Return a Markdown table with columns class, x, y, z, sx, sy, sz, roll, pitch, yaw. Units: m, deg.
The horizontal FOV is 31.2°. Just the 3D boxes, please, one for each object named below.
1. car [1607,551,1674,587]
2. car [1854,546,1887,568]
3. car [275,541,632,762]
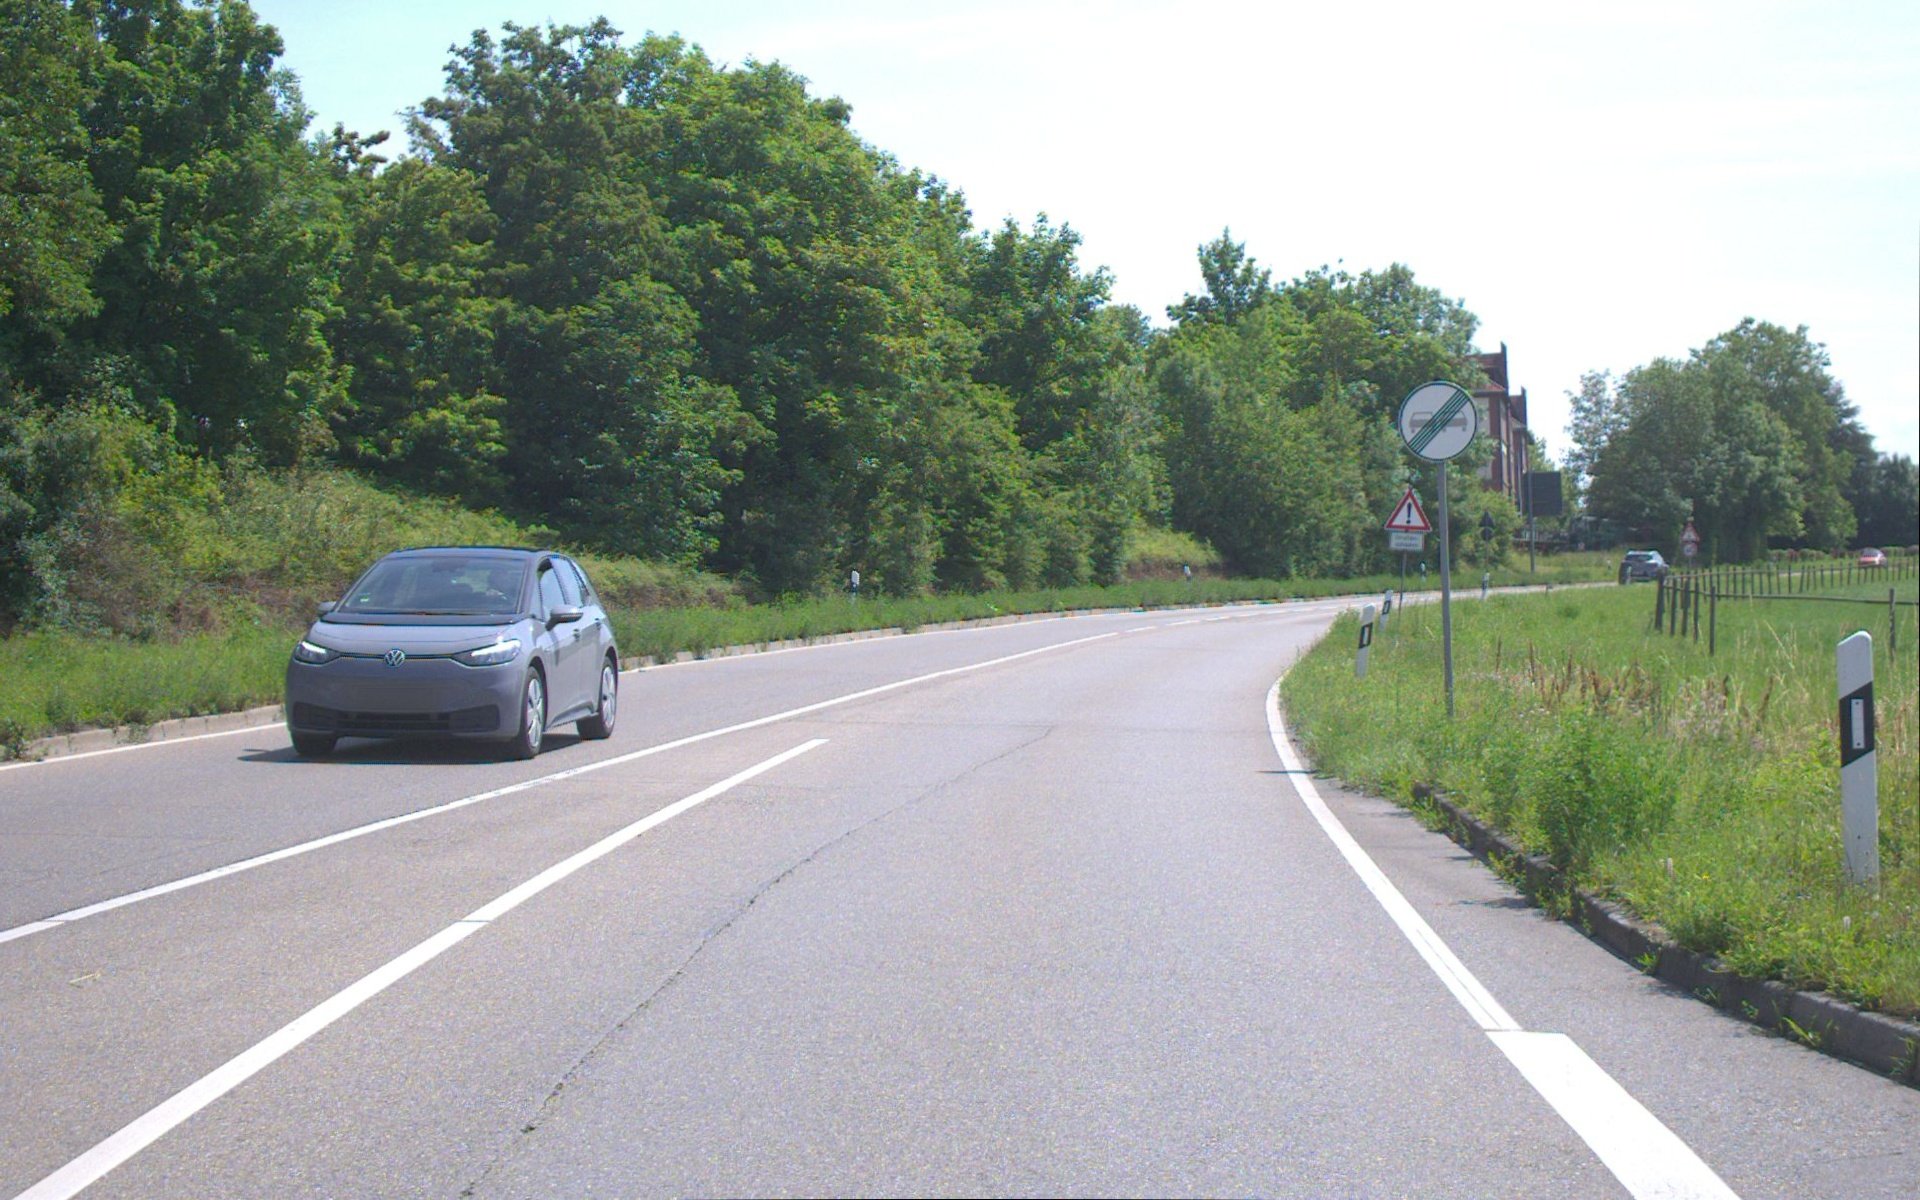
| class | x | y | z | sx | sy | sz | roll | pitch | yaw |
| --- | --- | --- | --- | --- | --- | --- | --- | --- | --- |
| car | 30.180 | -1.376 | 152.440 | 1.996 | 1.568 | 3.995 | 1 | 1 | 26 |
| car | 64.917 | -3.074 | 245.110 | 1.823 | 1.464 | 3.996 | 2 | 1 | 21 |
| car | -3.805 | 0.334 | 26.544 | 1.755 | 1.529 | 4.227 | 1 | 1 | 5 |
